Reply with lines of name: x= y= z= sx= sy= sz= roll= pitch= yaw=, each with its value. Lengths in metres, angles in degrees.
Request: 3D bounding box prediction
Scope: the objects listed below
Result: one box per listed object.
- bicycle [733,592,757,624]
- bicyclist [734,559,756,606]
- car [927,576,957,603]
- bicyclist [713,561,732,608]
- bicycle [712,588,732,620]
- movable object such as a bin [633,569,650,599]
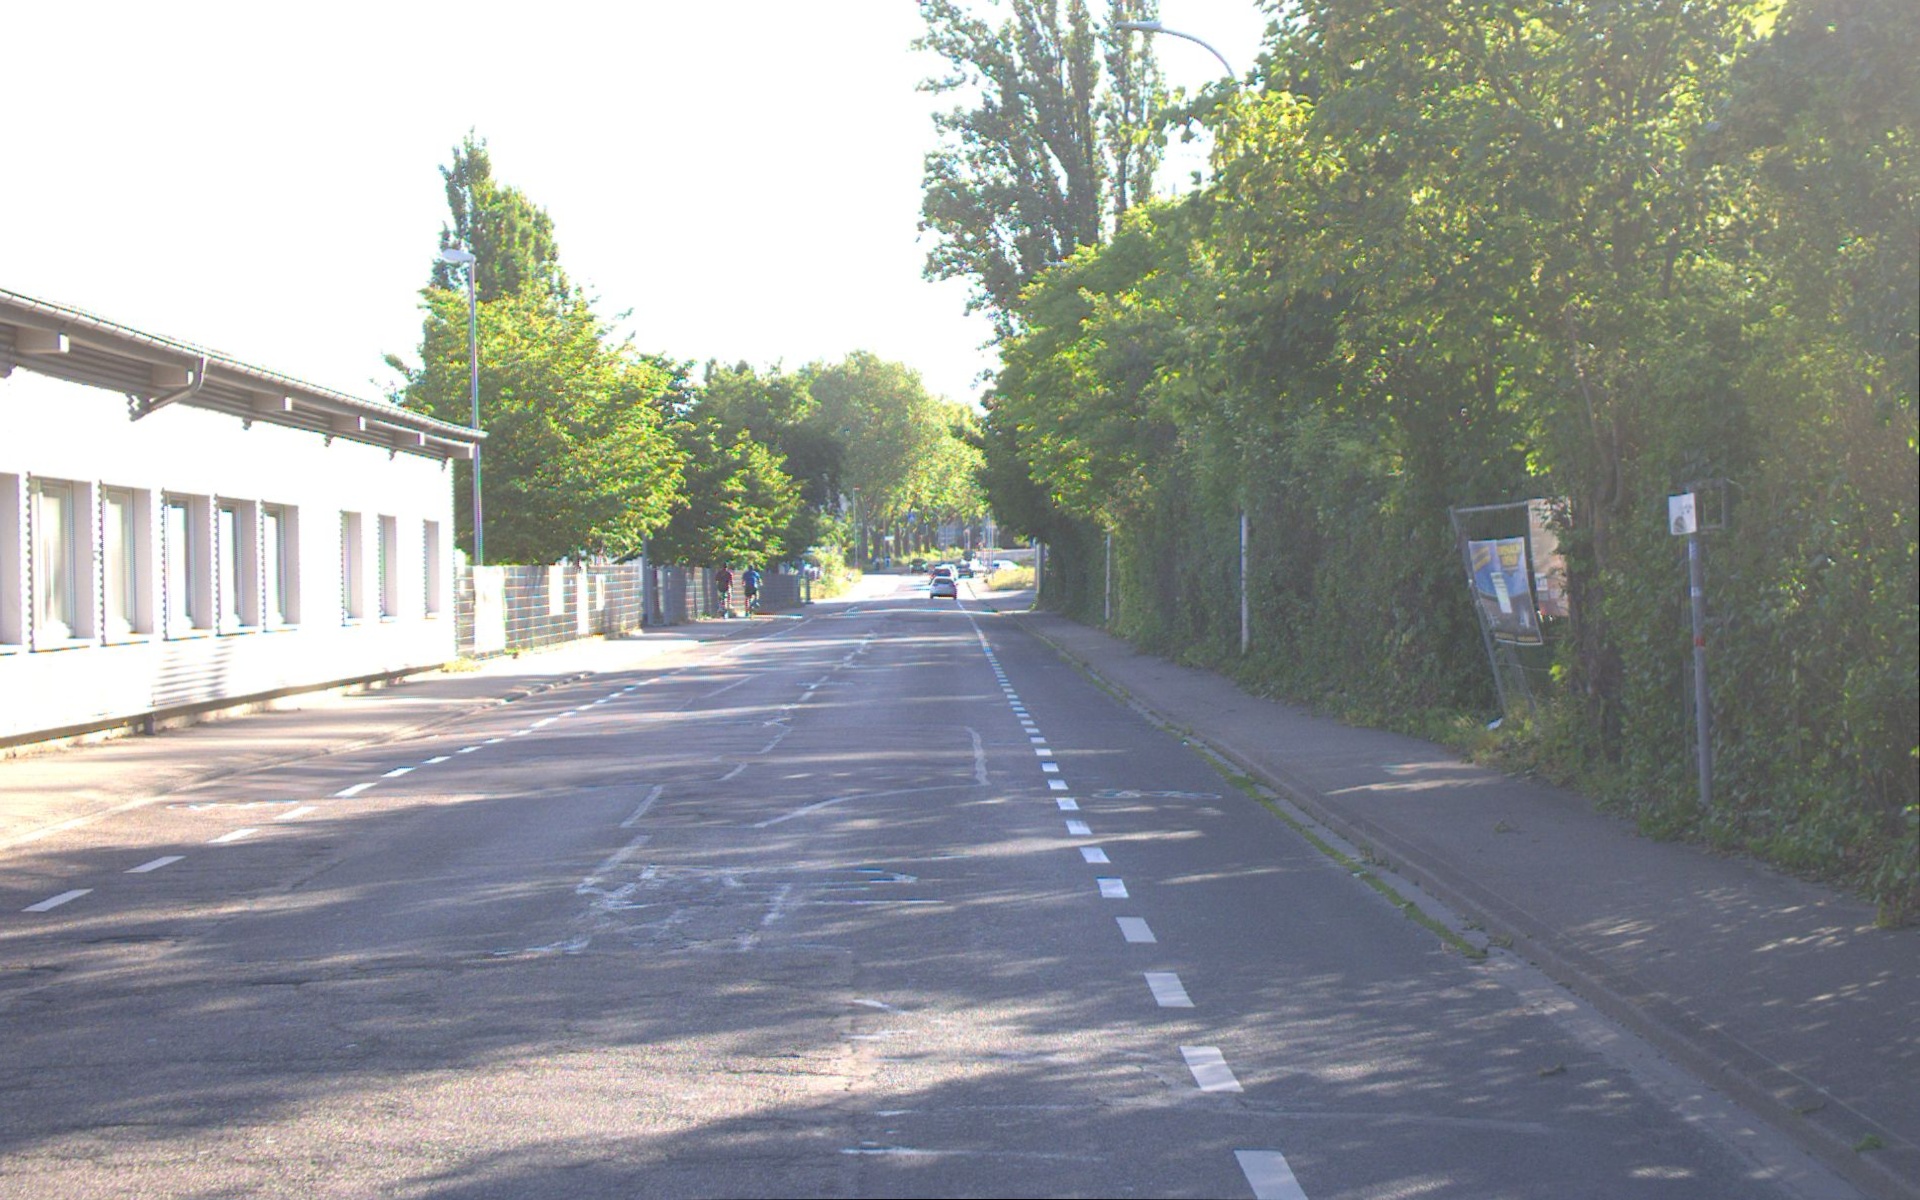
bicycle: x=-7.045 y=0.262 z=112.562 sx=0.689 sy=1.030 sz=1.351 roll=1 pitch=1 yaw=0
bicyclist: x=-7.034 y=-0.577 z=112.527 sx=0.689 sy=1.526 sz=0.722 roll=1 pitch=1 yaw=0
car: x=-1.147 y=-0.678 z=224.053 sx=1.942 sy=1.645 sz=4.310 roll=1 pitch=1 yaw=0
bicyclist: x=-7.805 y=-0.510 z=112.945 sx=0.560 sy=1.528 sz=0.689 roll=1 pitch=1 yaw=0
bicycle: x=-7.810 y=0.131 z=113.033 sx=0.563 sy=1.030 sz=1.351 roll=1 pitch=1 yaw=0
movable object such as a bin: x=-11.624 y=-0.600 z=125.435 sx=0.463 sy=1.072 sz=1.570 roll=-1 pitch=1 yaw=0
